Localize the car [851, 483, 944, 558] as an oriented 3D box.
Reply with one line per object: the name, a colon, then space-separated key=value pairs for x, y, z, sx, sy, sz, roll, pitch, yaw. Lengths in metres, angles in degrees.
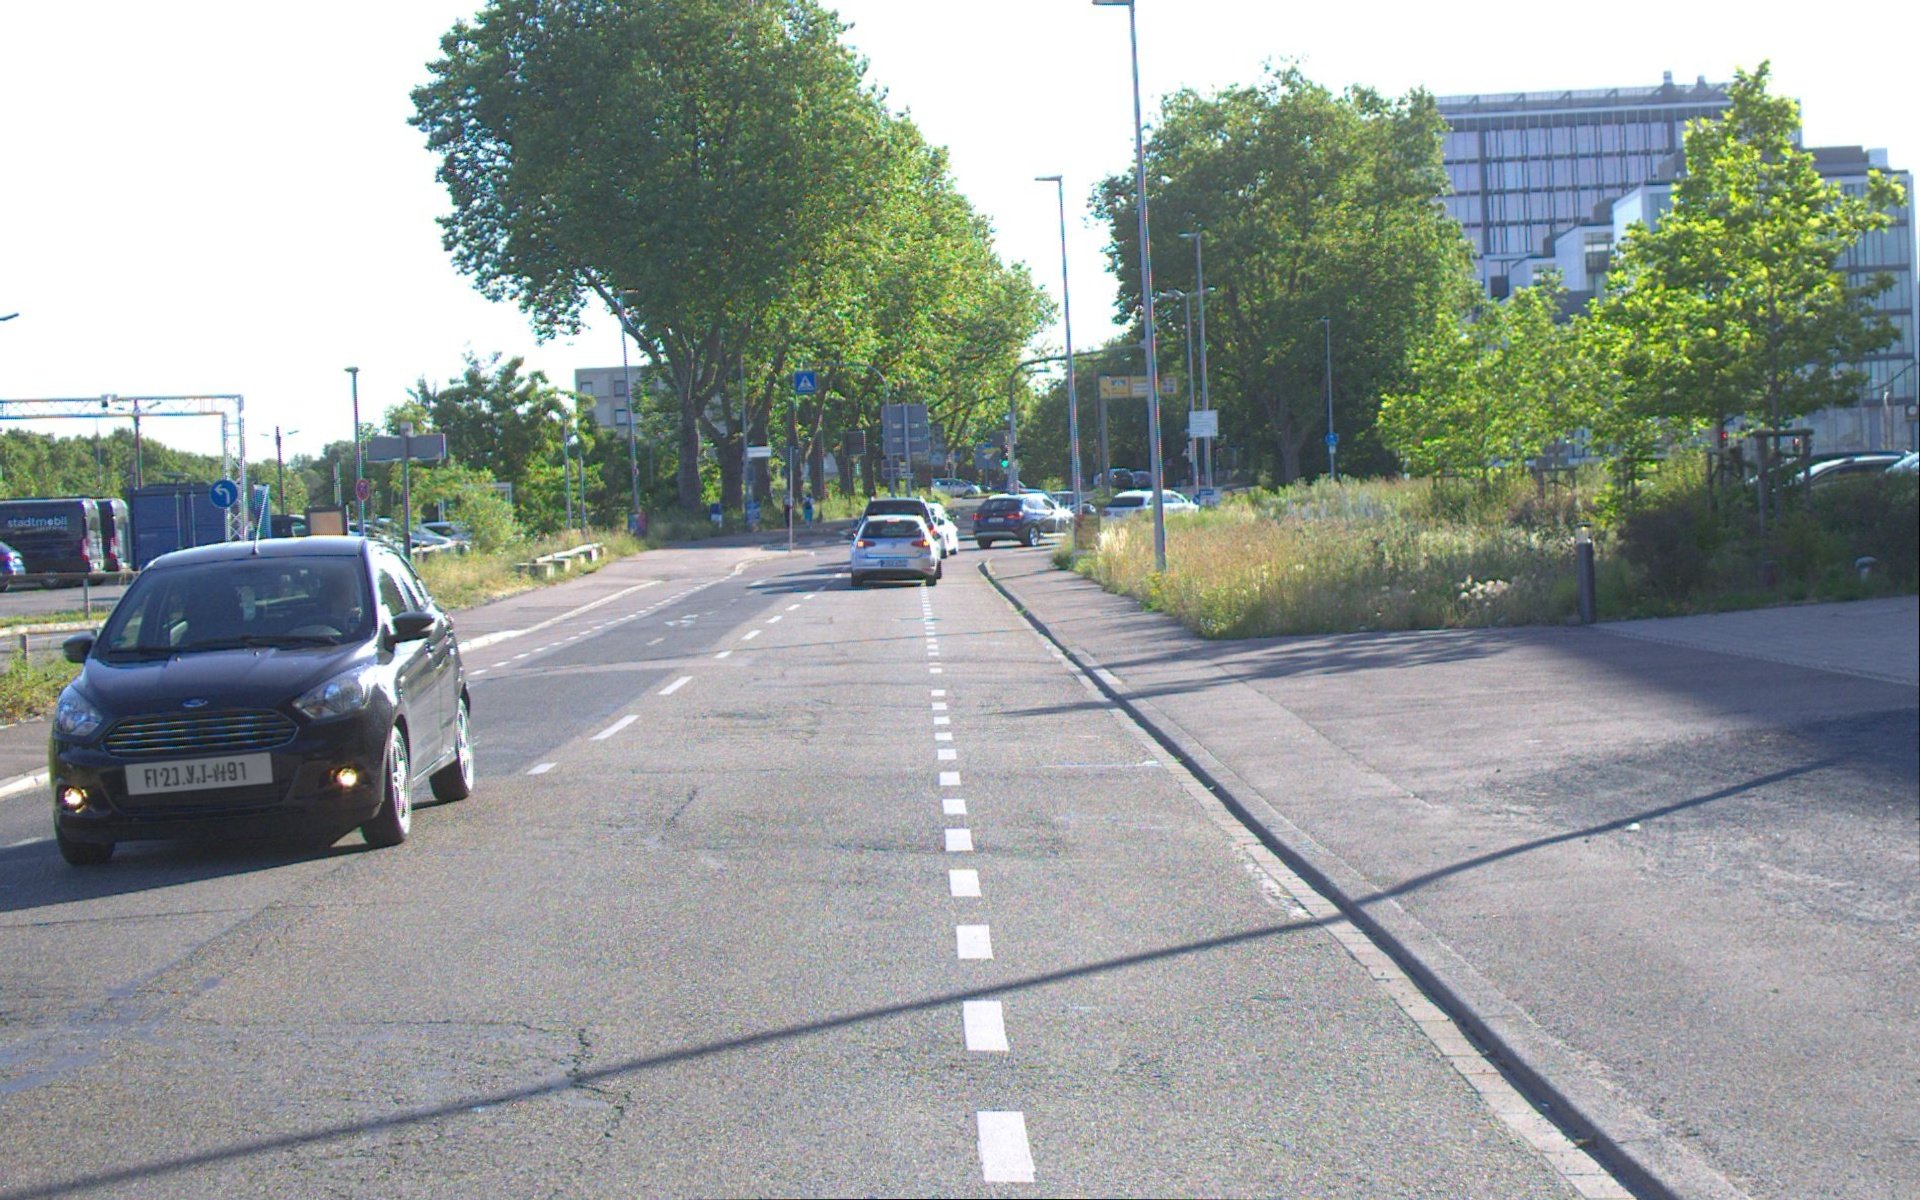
car: x=-1.262 y=-1.654 z=70.748 sx=1.790 sy=1.415 sz=4.001 roll=-2 pitch=2 yaw=0

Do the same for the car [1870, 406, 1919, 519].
car: x=15.386 y=-2.026 z=49.311 sx=4.184 sy=1.575 sz=1.851 roll=-2 pitch=1 yaw=3

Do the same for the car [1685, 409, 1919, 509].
car: x=15.569 y=-2.599 z=63.511 sx=3.987 sy=1.700 sz=1.852 roll=-2 pitch=2 yaw=3

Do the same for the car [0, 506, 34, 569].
car: x=-26.768 y=-1.603 z=90.580 sx=4.207 sy=1.612 sz=1.878 roll=-2 pitch=2 yaw=-1

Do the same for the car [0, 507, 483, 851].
car: x=-3.611 y=0.324 z=17.947 sx=1.654 sy=1.498 sz=4.000 roll=-3 pitch=1 yaw=-1

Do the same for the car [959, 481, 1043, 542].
car: x=1.241 y=-2.634 z=101.731 sx=2.164 sy=1.678 sz=4.000 roll=-2 pitch=2 yaw=4

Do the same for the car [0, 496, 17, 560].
car: x=-26.588 y=-1.777 z=88.011 sx=4.321 sy=1.612 sz=1.878 roll=-2 pitch=2 yaw=-1

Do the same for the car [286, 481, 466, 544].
car: x=-15.874 y=-2.391 z=93.571 sx=4.542 sy=1.552 sz=1.878 roll=-2 pitch=2 yaw=-1

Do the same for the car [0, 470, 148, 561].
car: x=-26.080 y=-2.410 z=98.293 sx=5.096 sy=2.451 sz=2.320 roll=-2 pitch=2 yaw=-1

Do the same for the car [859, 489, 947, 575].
car: x=-1.248 y=-1.551 z=76.975 sx=1.819 sy=1.762 sz=4.630 roll=-2 pitch=2 yaw=0

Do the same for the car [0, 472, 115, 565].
car: x=-26.282 y=-2.225 z=95.614 sx=4.926 sy=2.451 sz=2.320 roll=-3 pitch=2 yaw=-1

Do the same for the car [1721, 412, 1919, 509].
car: x=15.646 y=-2.464 z=60.362 sx=4.184 sy=1.575 sz=1.852 roll=-2 pitch=2 yaw=3

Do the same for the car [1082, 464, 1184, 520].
car: x=5.481 y=-3.392 z=108.632 sx=2.165 sy=1.678 sz=3.996 roll=-1 pitch=1 yaw=19

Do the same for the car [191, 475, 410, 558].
car: x=-15.769 y=-2.016 z=82.374 sx=4.845 sy=1.828 sz=2.000 roll=-2 pitch=2 yaw=-1
